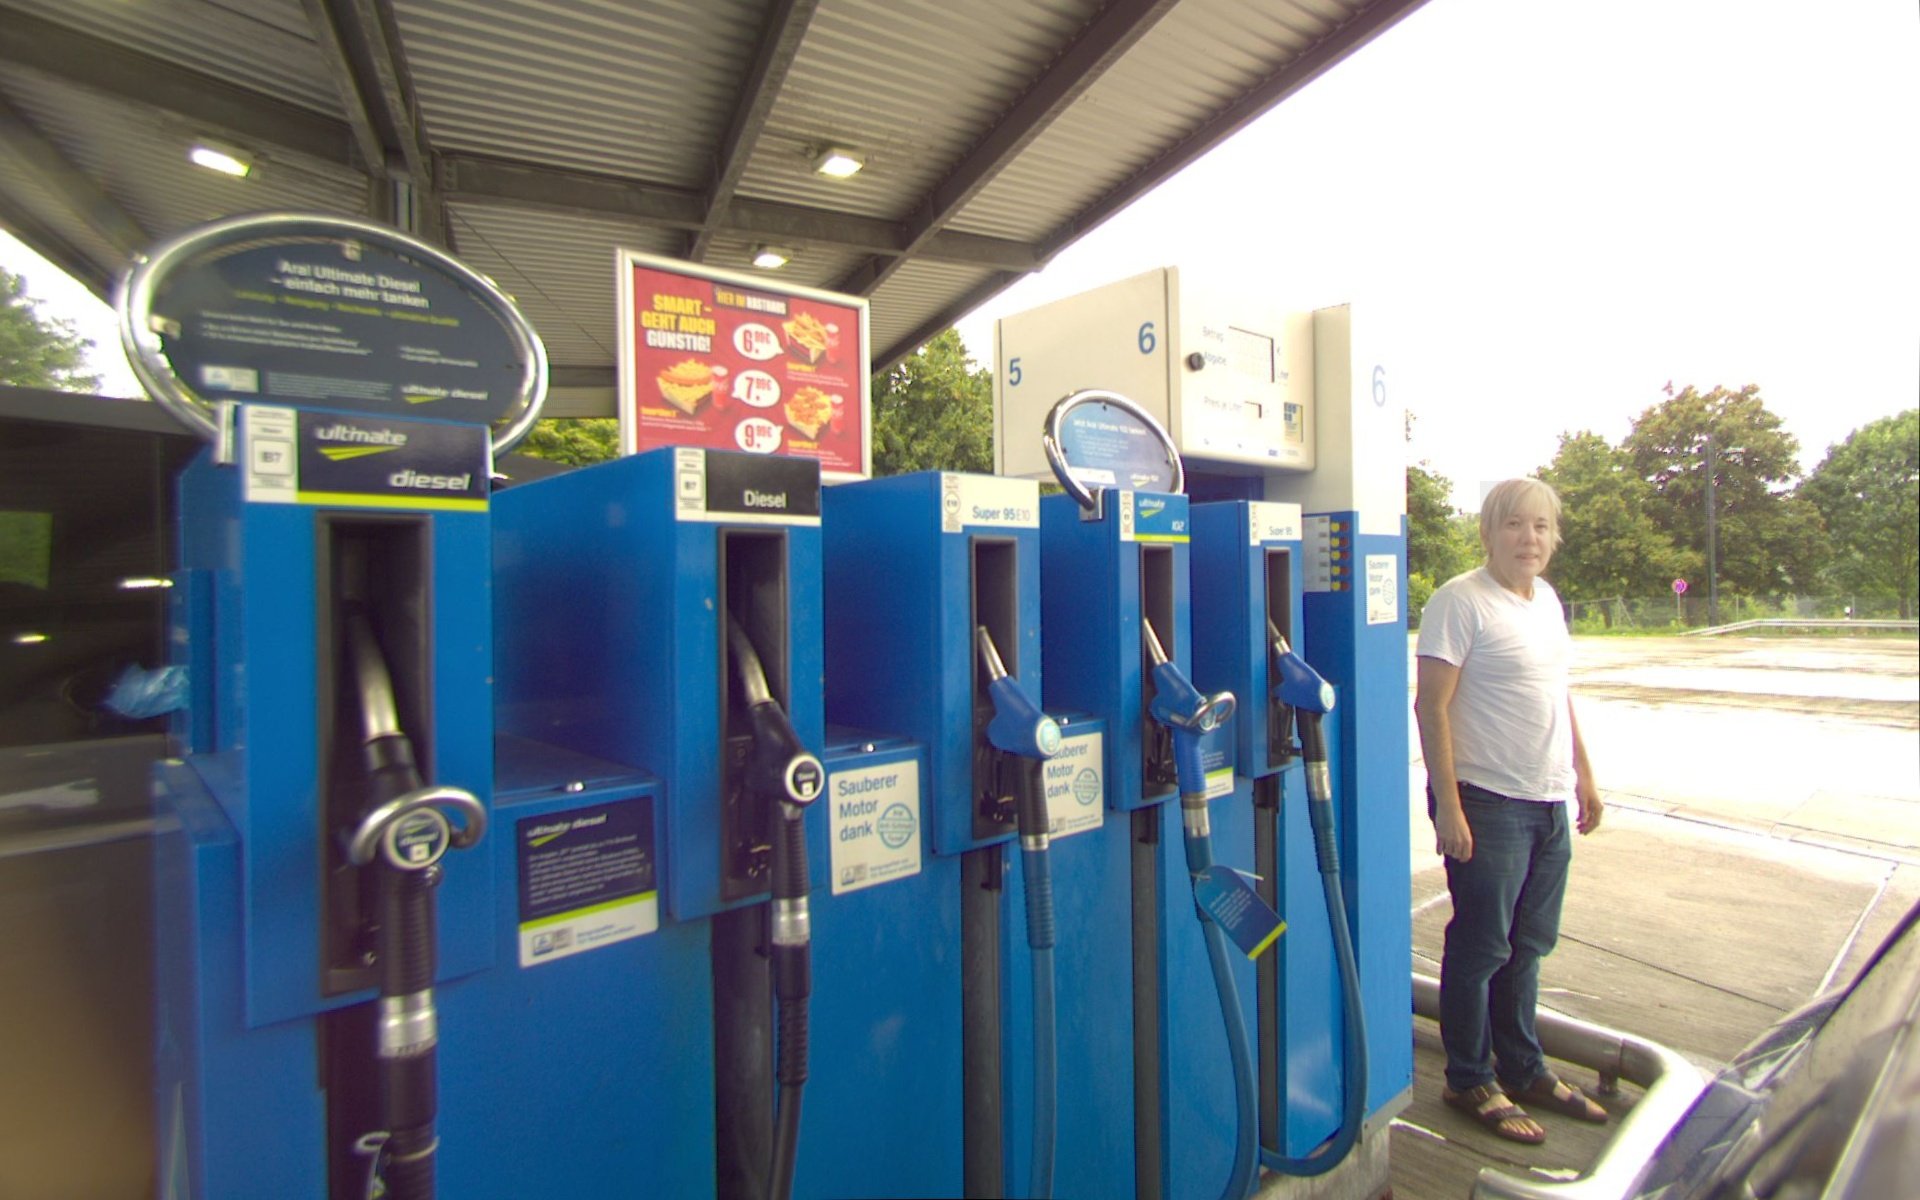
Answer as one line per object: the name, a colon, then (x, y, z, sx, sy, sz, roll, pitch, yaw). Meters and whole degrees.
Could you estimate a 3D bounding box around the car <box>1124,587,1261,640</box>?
car: (7.390, 0.406, 32.141, 4.123, 1.576, 1.990, 1, 0, 17)

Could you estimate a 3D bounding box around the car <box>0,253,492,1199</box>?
car: (-3.031, 0.432, 1.472, 3.930, 1.973, 1.819, 0, 0, -41)

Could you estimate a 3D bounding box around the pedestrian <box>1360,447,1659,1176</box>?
pedestrian: (1.576, 0.521, 2.911, 0.621, 1.832, 0.495, -2, 1, -31)

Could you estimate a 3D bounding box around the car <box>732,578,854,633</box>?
car: (-5.570, 0.150, 33.469, 1.967, 1.683, 4.170, 0, 0, -44)

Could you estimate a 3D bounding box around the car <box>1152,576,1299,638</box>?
car: (8.926, 0.209, 34.326, 4.700, 2.011, 2.007, 0, 0, 14)

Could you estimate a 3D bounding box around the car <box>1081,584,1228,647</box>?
car: (5.801, 0.422, 30.006, 4.123, 1.752, 1.990, 1, 0, 17)
